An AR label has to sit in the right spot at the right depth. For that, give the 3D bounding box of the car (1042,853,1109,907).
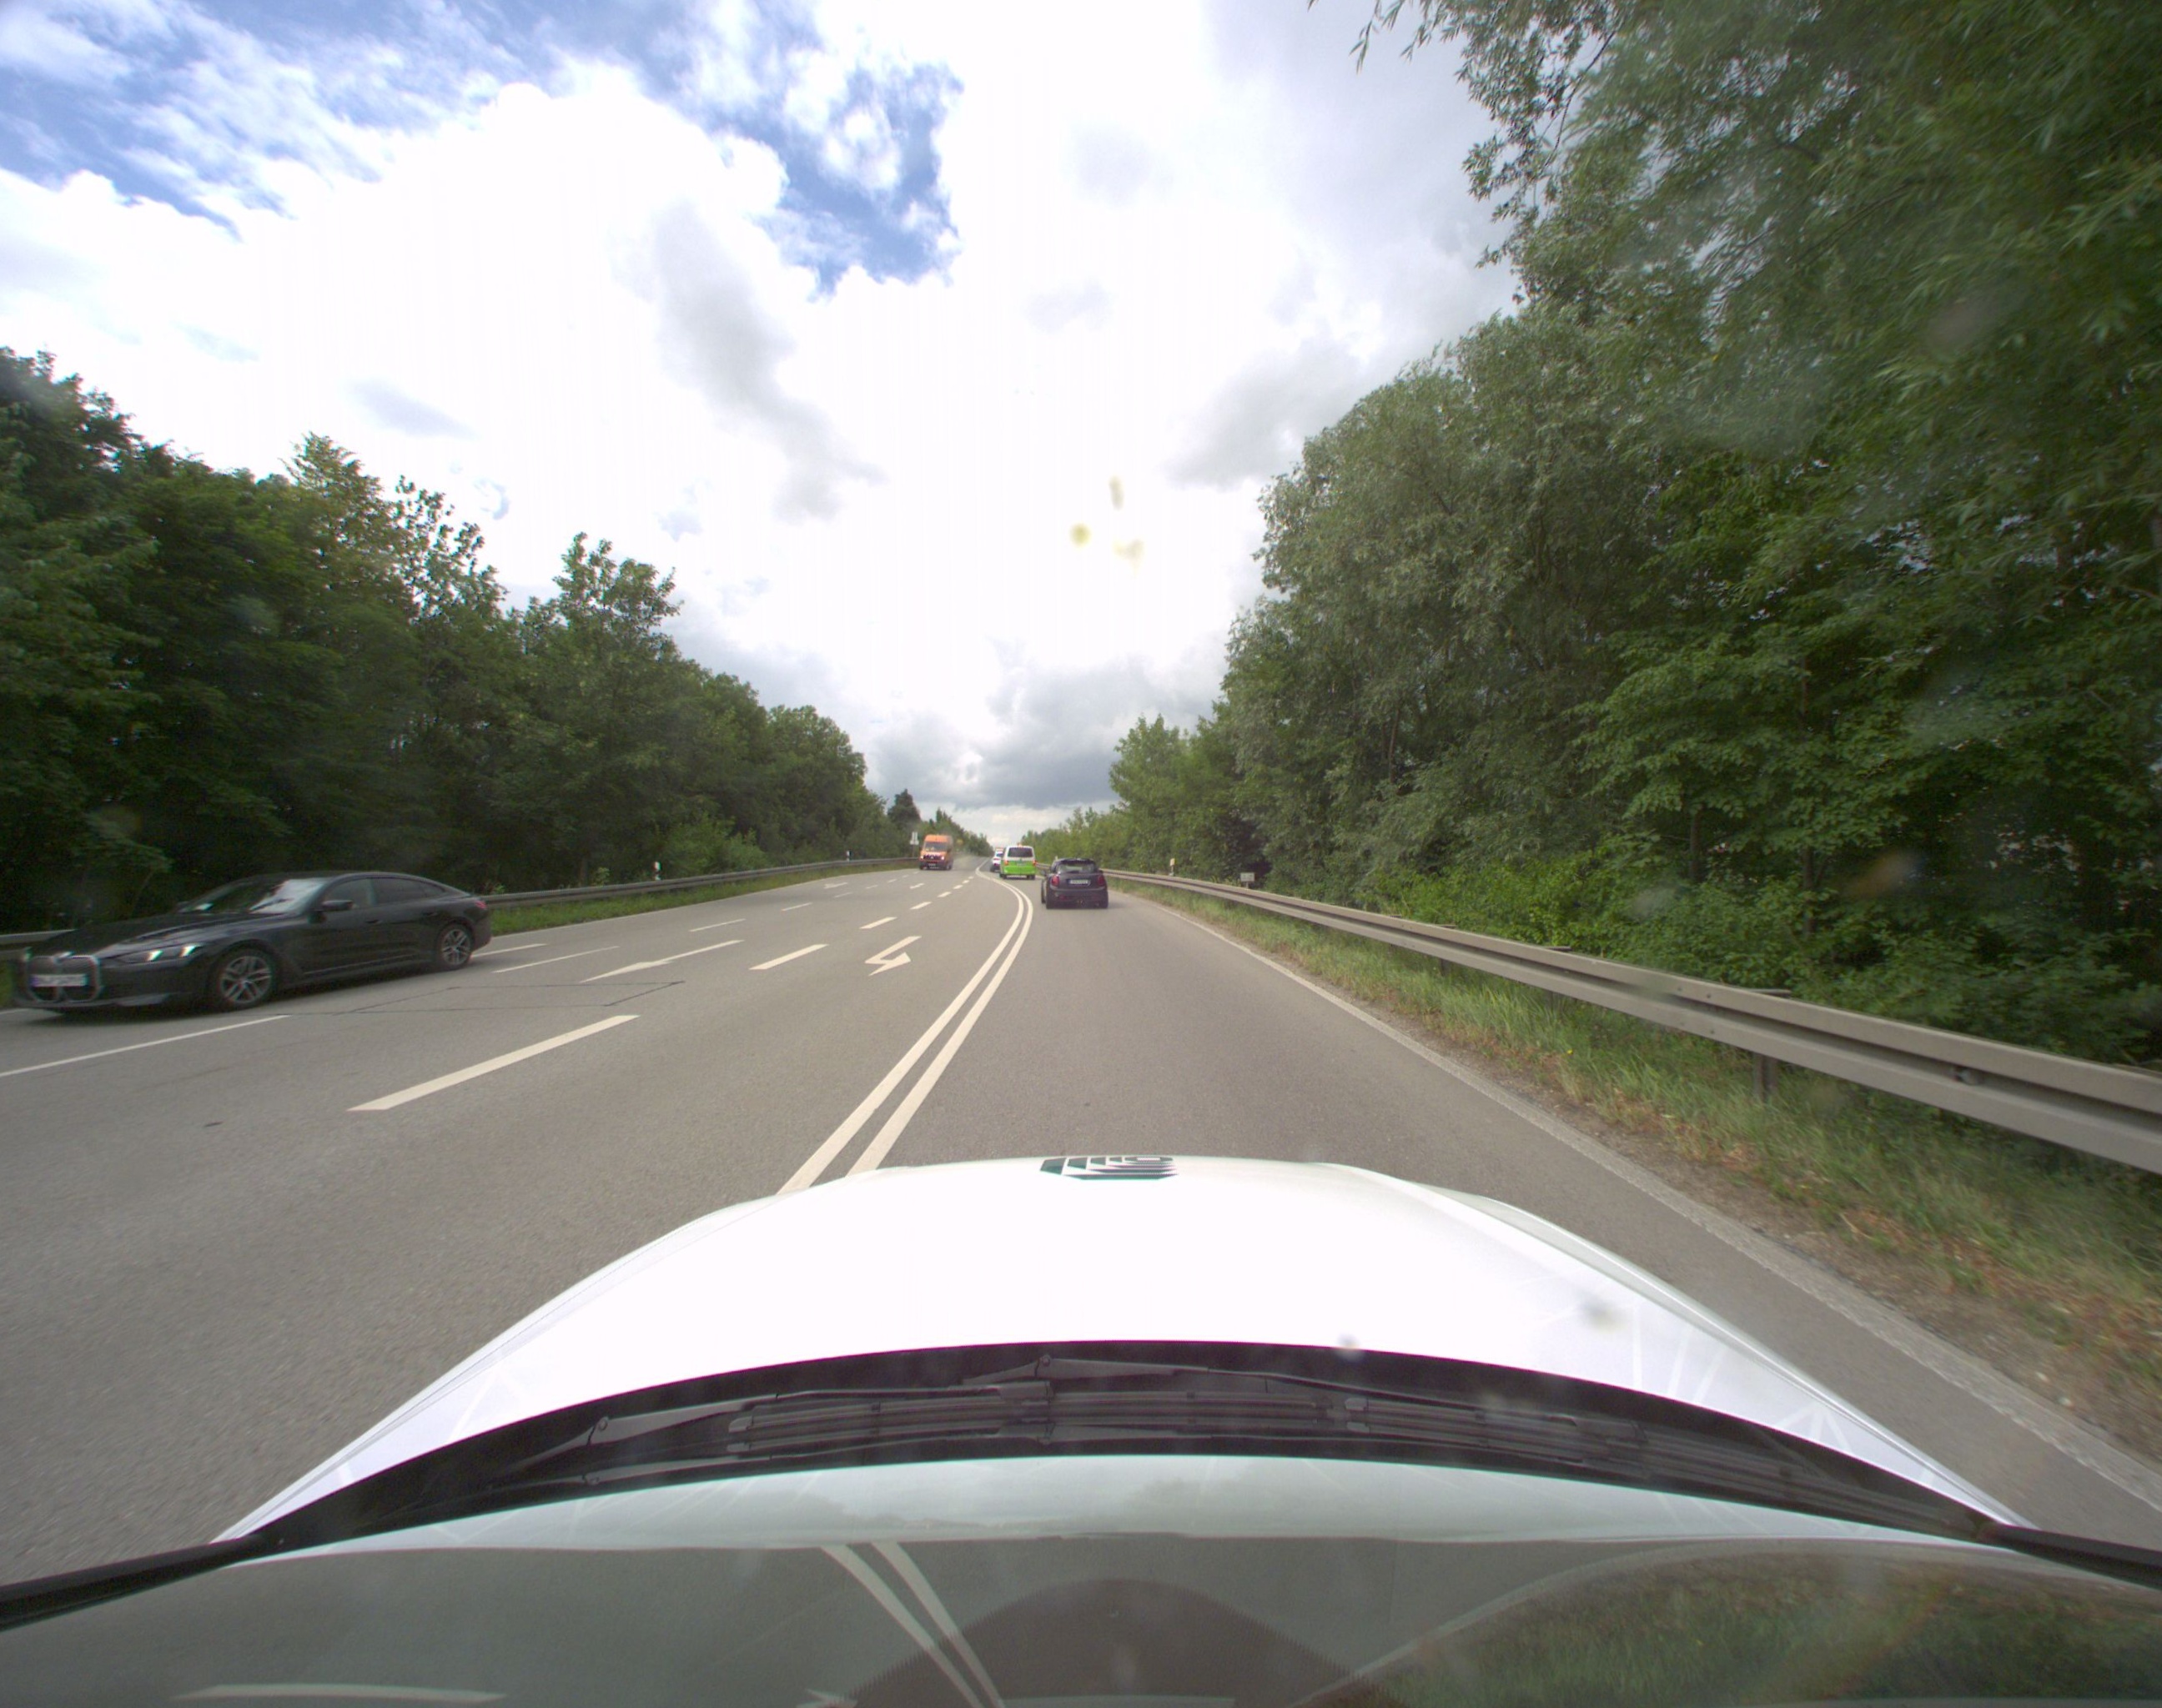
[{"bbox_3d":[-0.238,0.697,24.223,1.729,1.456,3.994,0,0,-4],"label":"car"}]

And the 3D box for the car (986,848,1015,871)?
[{"bbox_3d":[-5.969,0.393,60.724,1.984,1.618,4.148,-1,0,-4],"label":"car"}]

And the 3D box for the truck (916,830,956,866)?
[{"bbox_3d":[-10.904,-0.475,61.703,2.312,2.601,6.015,0,1,-4],"label":"truck"}]

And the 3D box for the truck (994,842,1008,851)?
[{"bbox_3d":[-20.978,-1.939,213.967,2.903,2.372,10.440,0,0,-3],"label":"truck"}]

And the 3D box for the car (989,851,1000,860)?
[{"bbox_3d":[-17.069,0.254,160.520,1.991,1.798,3.992,0,0,-6],"label":"car"}]

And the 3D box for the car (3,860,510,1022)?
[{"bbox_3d":[-9.737,0.880,10.318,1.711,1.498,4.549,-1,0,1],"label":"car"}]

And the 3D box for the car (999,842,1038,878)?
[{"bbox_3d":[-3.757,0.331,48.272,2.021,2.013,3.988,-1,1,-9],"label":"car"}]
